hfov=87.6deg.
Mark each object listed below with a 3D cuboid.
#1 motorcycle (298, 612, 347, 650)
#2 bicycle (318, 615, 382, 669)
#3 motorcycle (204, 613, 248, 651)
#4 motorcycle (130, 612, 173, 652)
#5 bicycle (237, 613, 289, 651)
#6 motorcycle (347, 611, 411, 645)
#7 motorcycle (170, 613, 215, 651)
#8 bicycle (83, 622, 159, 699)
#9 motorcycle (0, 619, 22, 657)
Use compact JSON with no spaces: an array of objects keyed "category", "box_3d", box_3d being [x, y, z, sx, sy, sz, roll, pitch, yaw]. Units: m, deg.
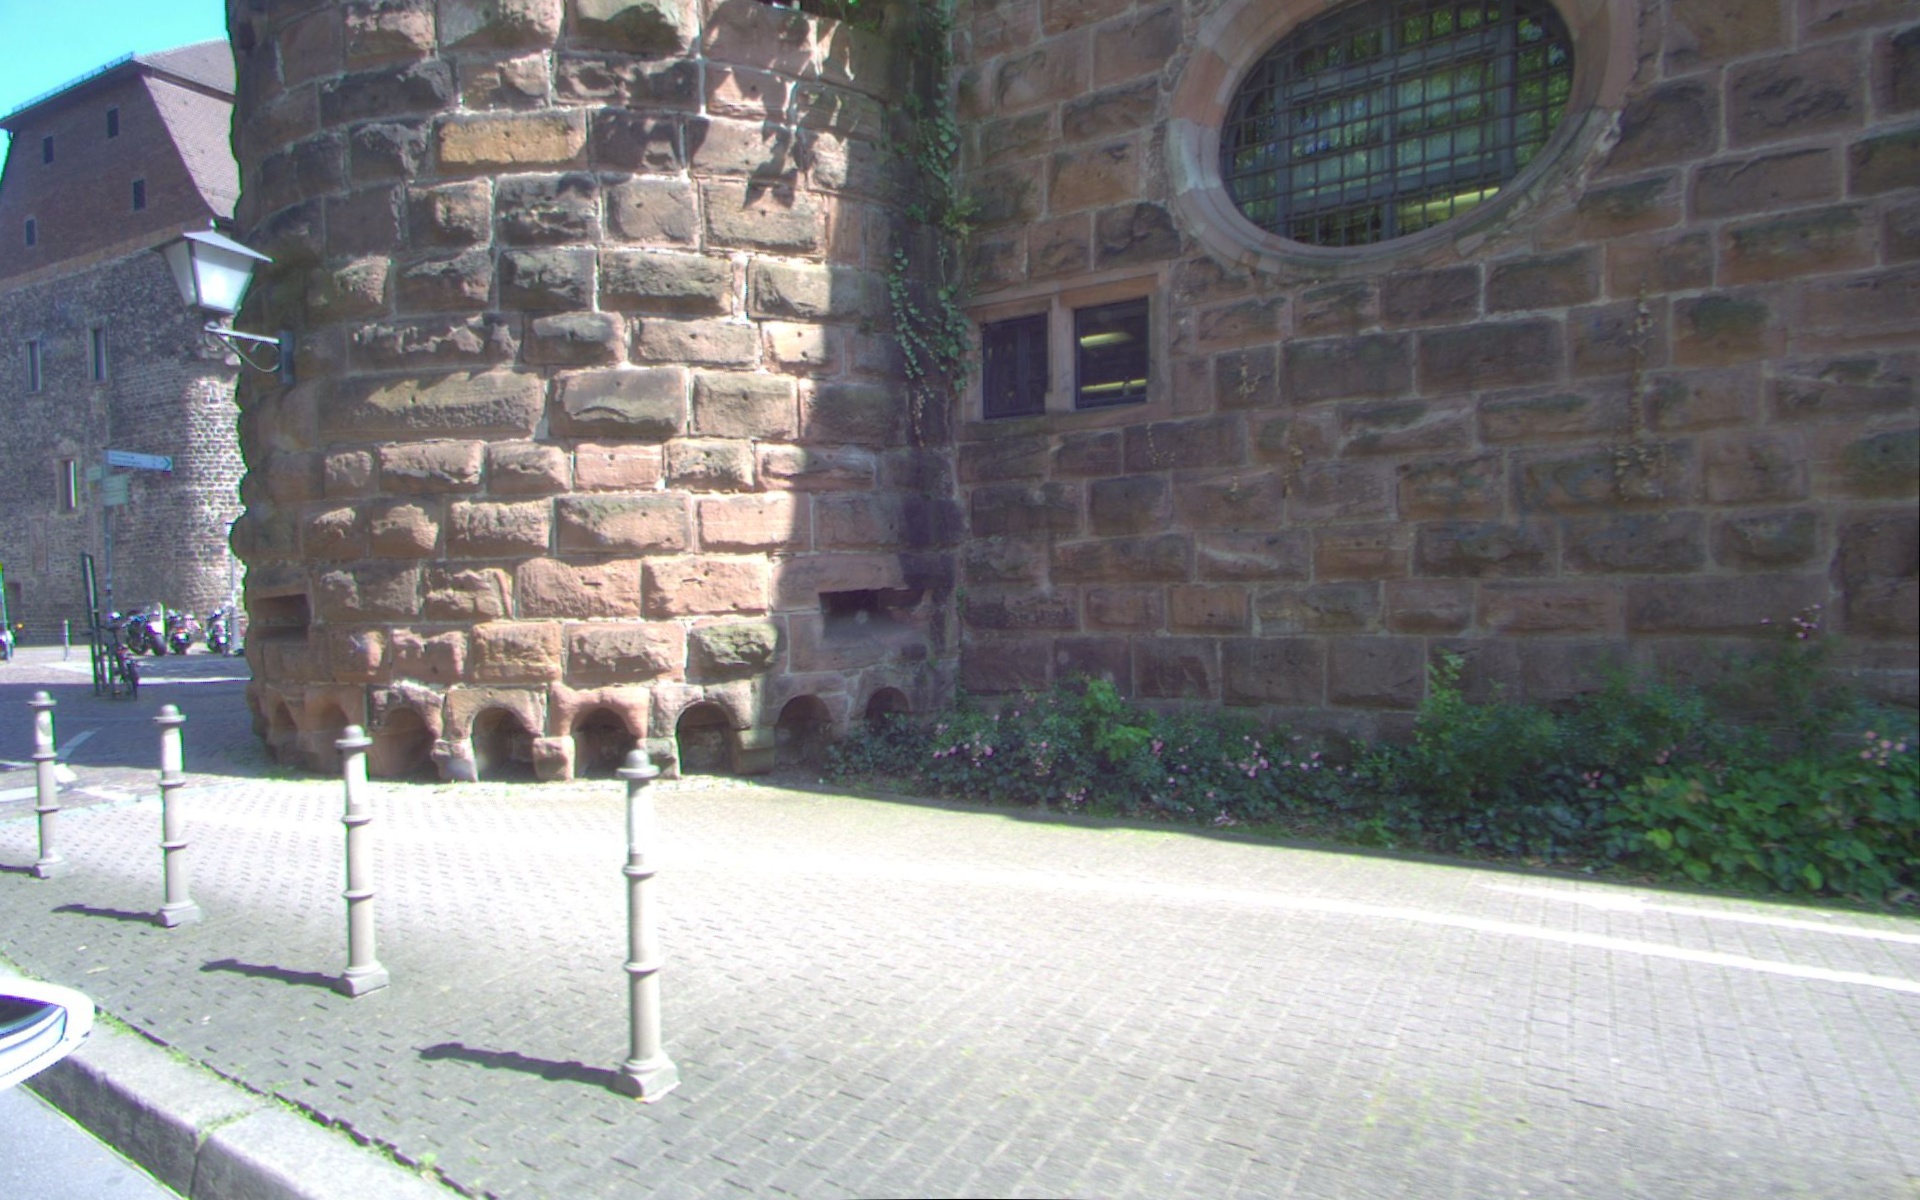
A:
[{"category":"motorcycle","box_3d":[-17.955,0.873,28.200,1.677,1.032,0.498,-1,-2,33]},{"category":"bicycle","box_3d":[-12.253,0.839,20.093,2.027,1.043,0.494,-1,-2,40]},{"category":"motorcycle","box_3d":[-19.732,0.864,26.898,1.446,0.985,0.457,-1,-2,33]},{"category":"motorcycle","box_3d":[-20.604,0.810,25.512,1.339,0.985,0.435,-1,-1,33]},{"category":"bicycle","box_3d":[-18.939,0.873,27.206,1.798,1.002,0.403,-1,-1,30]},{"category":"motorcycle","box_3d":[-18.403,0.893,31.753,0.495,1.032,1.686,-1,-2,45]},{"category":"motorcycle","box_3d":[-19.994,0.834,26.076,1.446,0.985,0.457,-1,-2,33]},{"category":"bicycle","box_3d":[-12.227,0.845,14.571,2.027,1.044,0.493,-1,0,40]},{"category":"motorcycle","box_3d":[-22.427,0.867,23.172,2.247,0.829,0.482,0,2,33]}]
